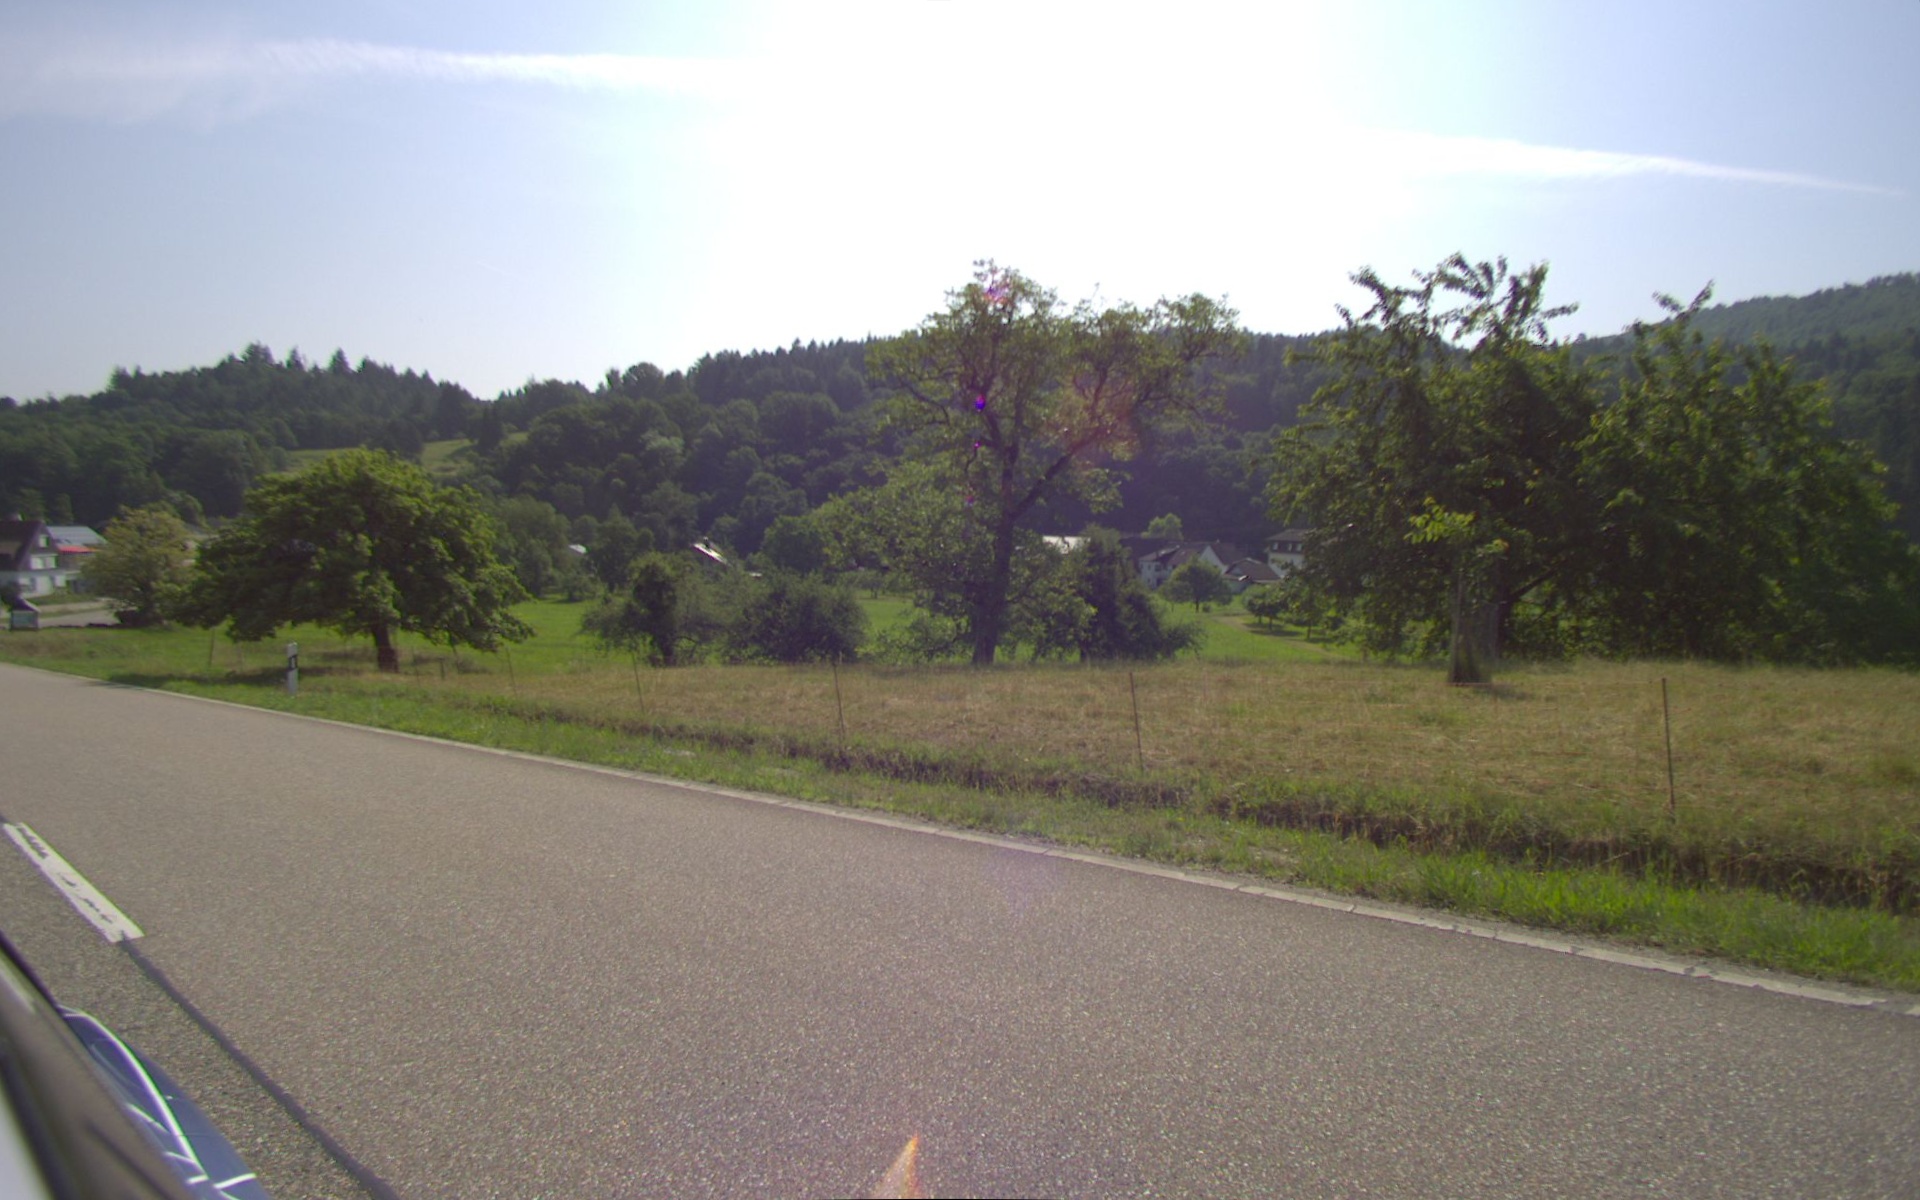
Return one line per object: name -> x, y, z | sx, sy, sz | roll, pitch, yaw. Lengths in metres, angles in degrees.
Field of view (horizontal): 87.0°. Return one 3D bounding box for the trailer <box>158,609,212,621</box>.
trailer -> -78.526, 1.535, 102.616 | 3.878, 0.946, 1.874 | -1, 4, -17
